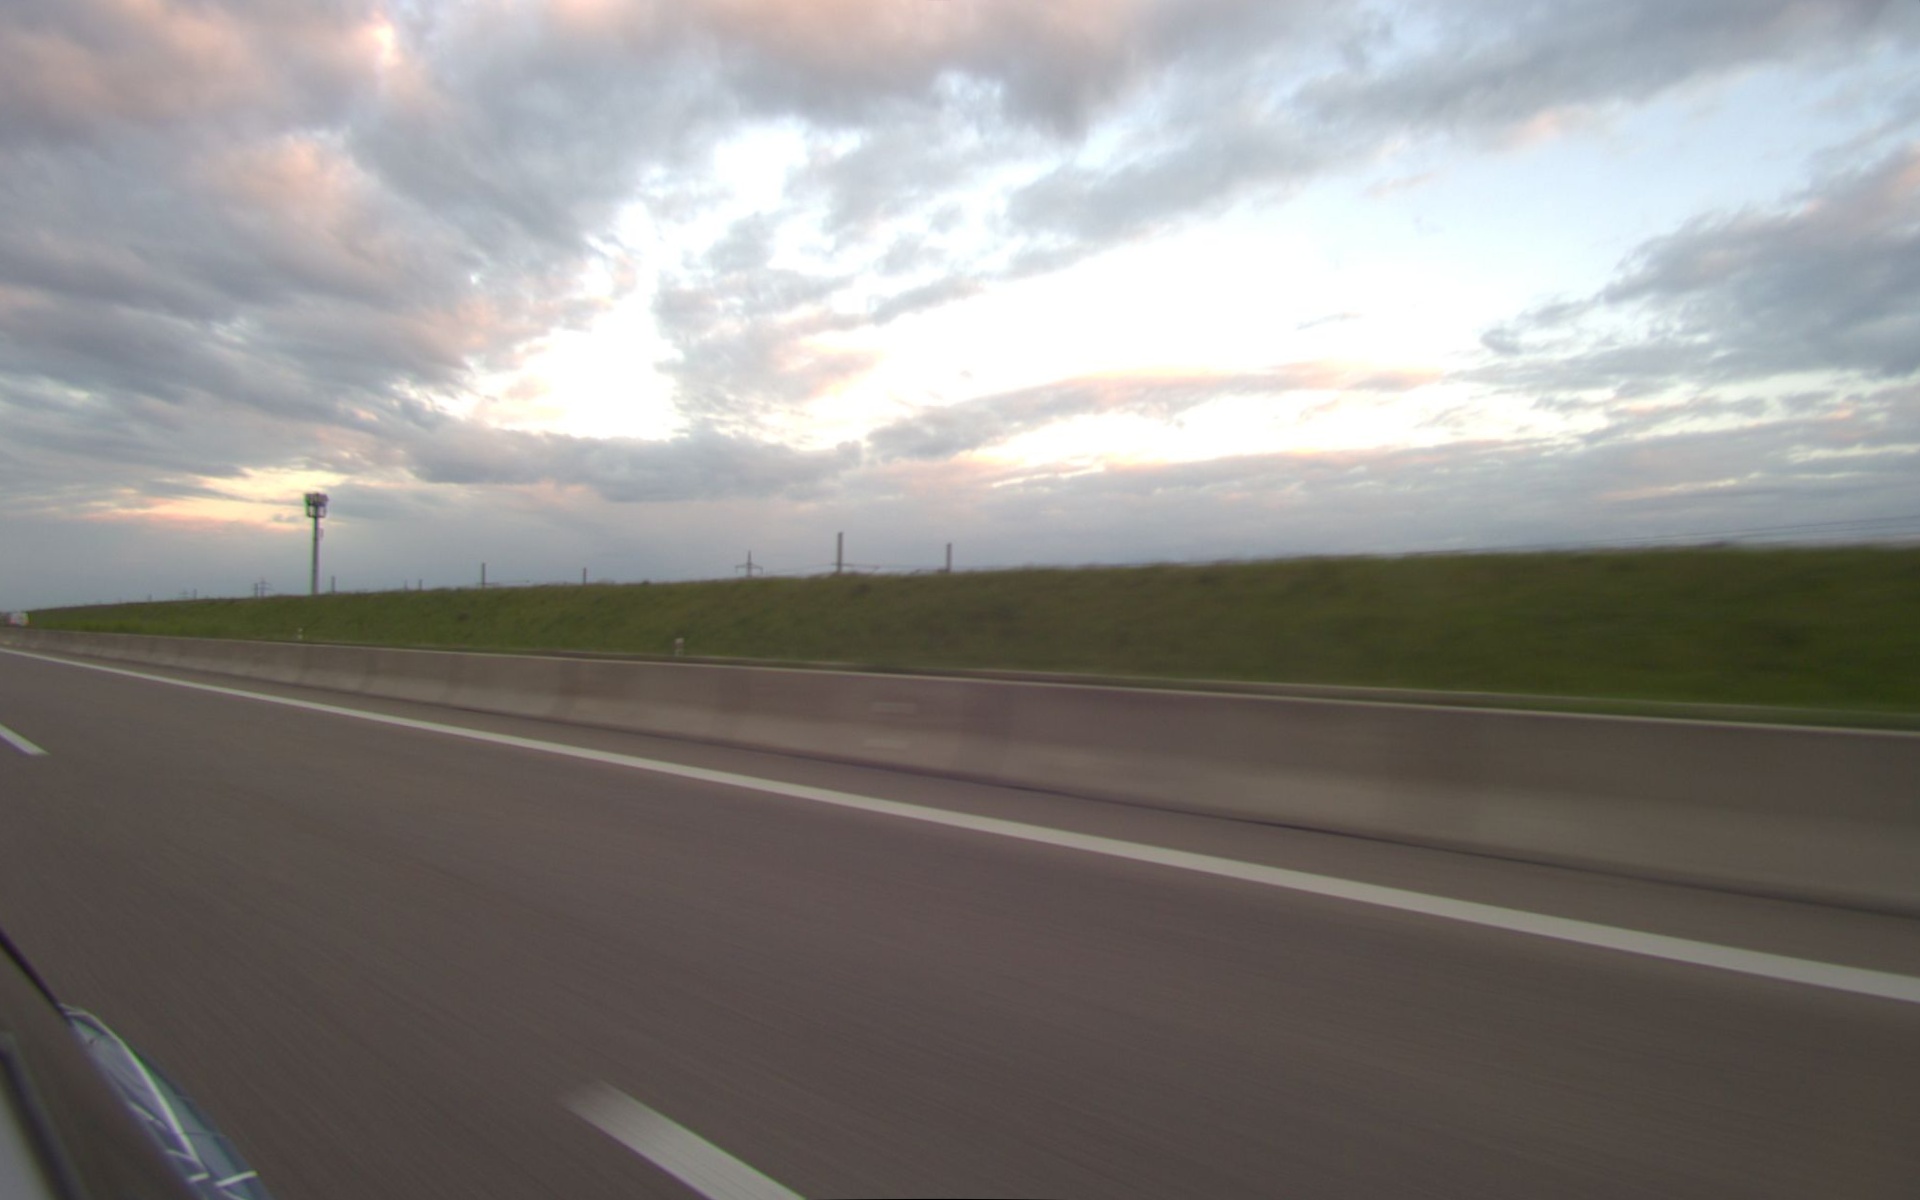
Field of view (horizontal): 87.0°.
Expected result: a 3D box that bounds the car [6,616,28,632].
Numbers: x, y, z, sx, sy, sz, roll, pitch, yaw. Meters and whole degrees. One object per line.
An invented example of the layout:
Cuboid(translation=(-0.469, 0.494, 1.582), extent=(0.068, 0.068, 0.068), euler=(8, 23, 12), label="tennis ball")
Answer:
Cuboid(translation=(-153.768, 3.869, 164.955), extent=(7.376, 2.566, 1.972), euler=(-1, -3, 42), label="car")
